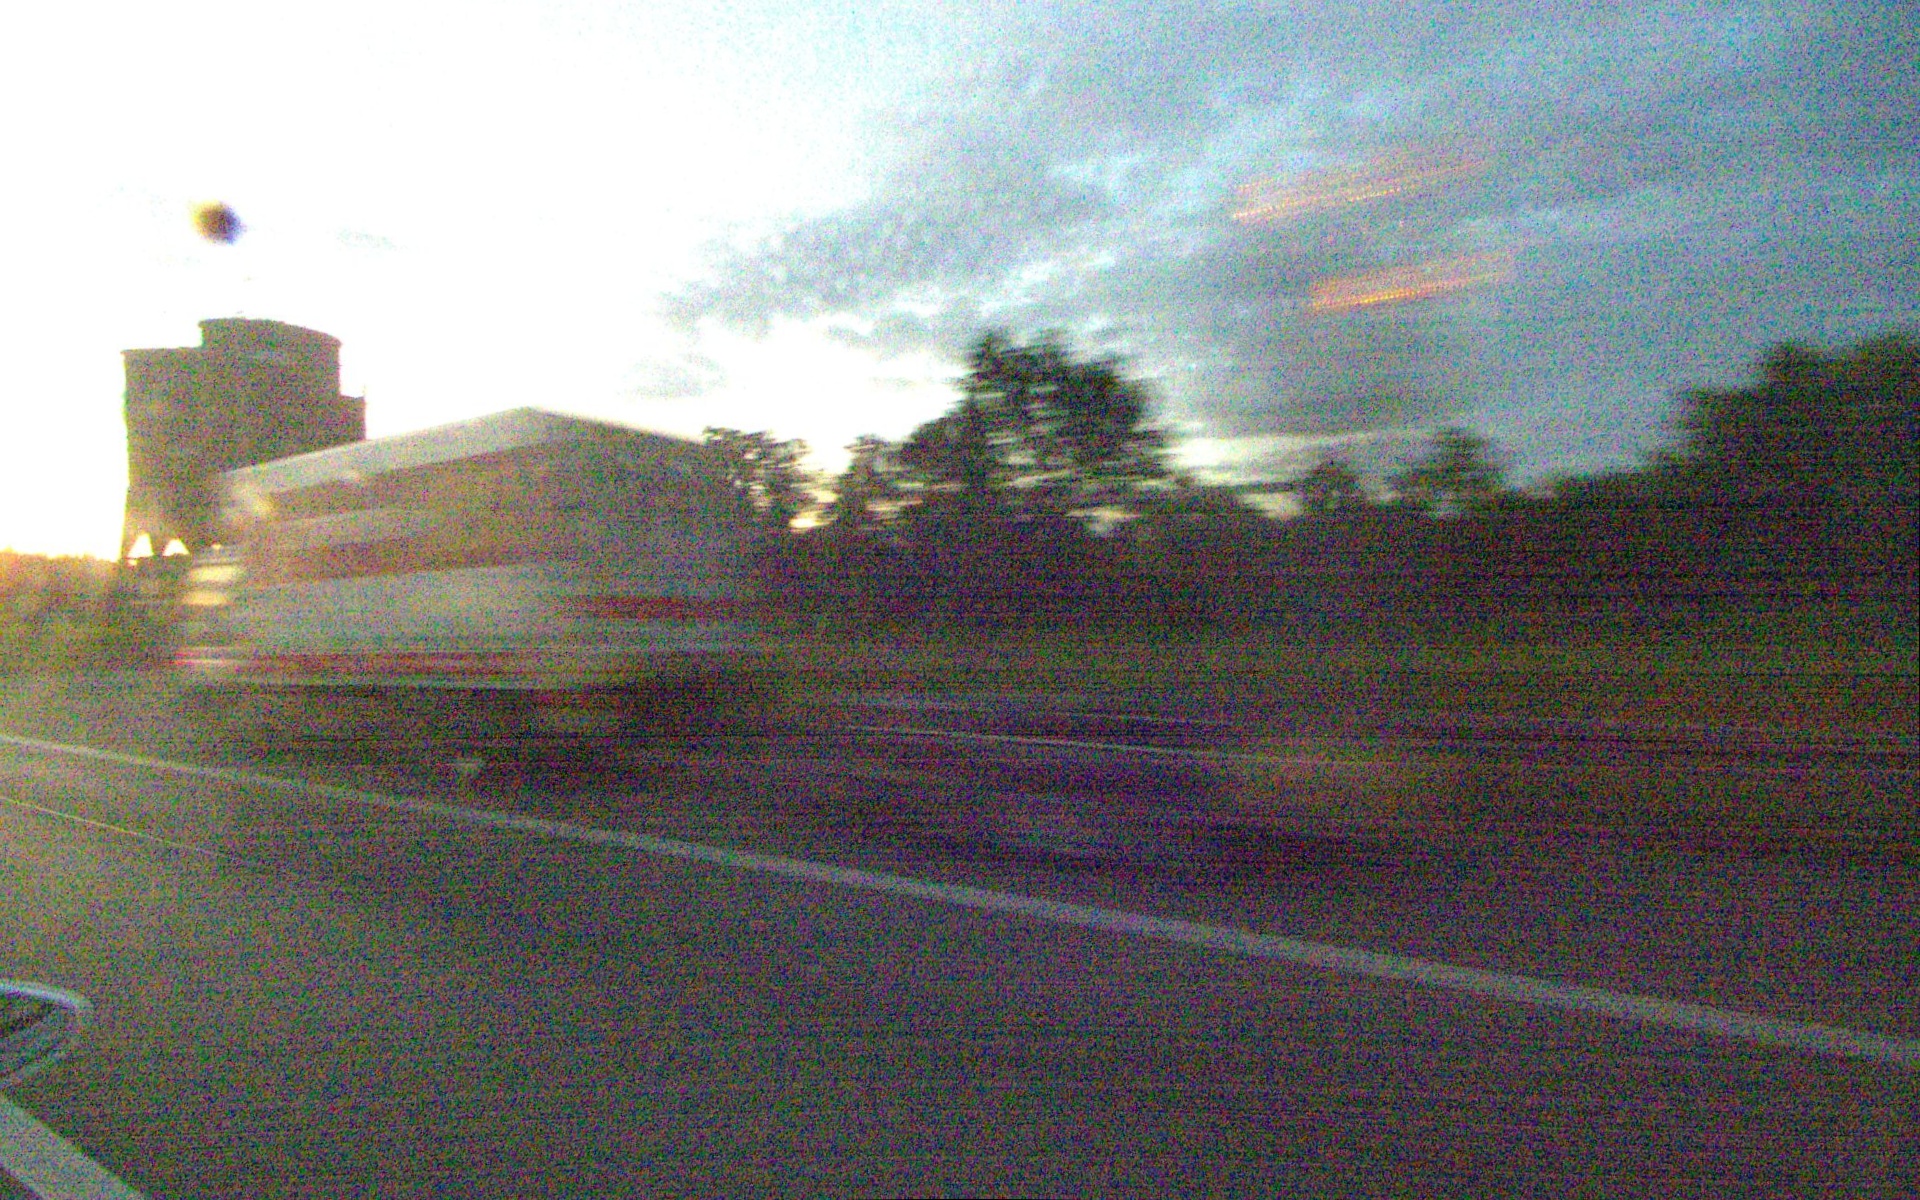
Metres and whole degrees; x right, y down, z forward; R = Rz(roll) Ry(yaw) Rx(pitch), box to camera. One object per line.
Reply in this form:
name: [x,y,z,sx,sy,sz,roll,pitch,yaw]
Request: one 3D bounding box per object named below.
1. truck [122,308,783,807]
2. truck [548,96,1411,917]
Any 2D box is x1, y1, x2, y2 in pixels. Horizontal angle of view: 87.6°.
truck: [-6.483,-0.303,12.022,9.018,4.165,2.908,0,0,32]
truck: [-0.062,-0.425,7.904,6.319,4.112,2.782,0,0,32]
